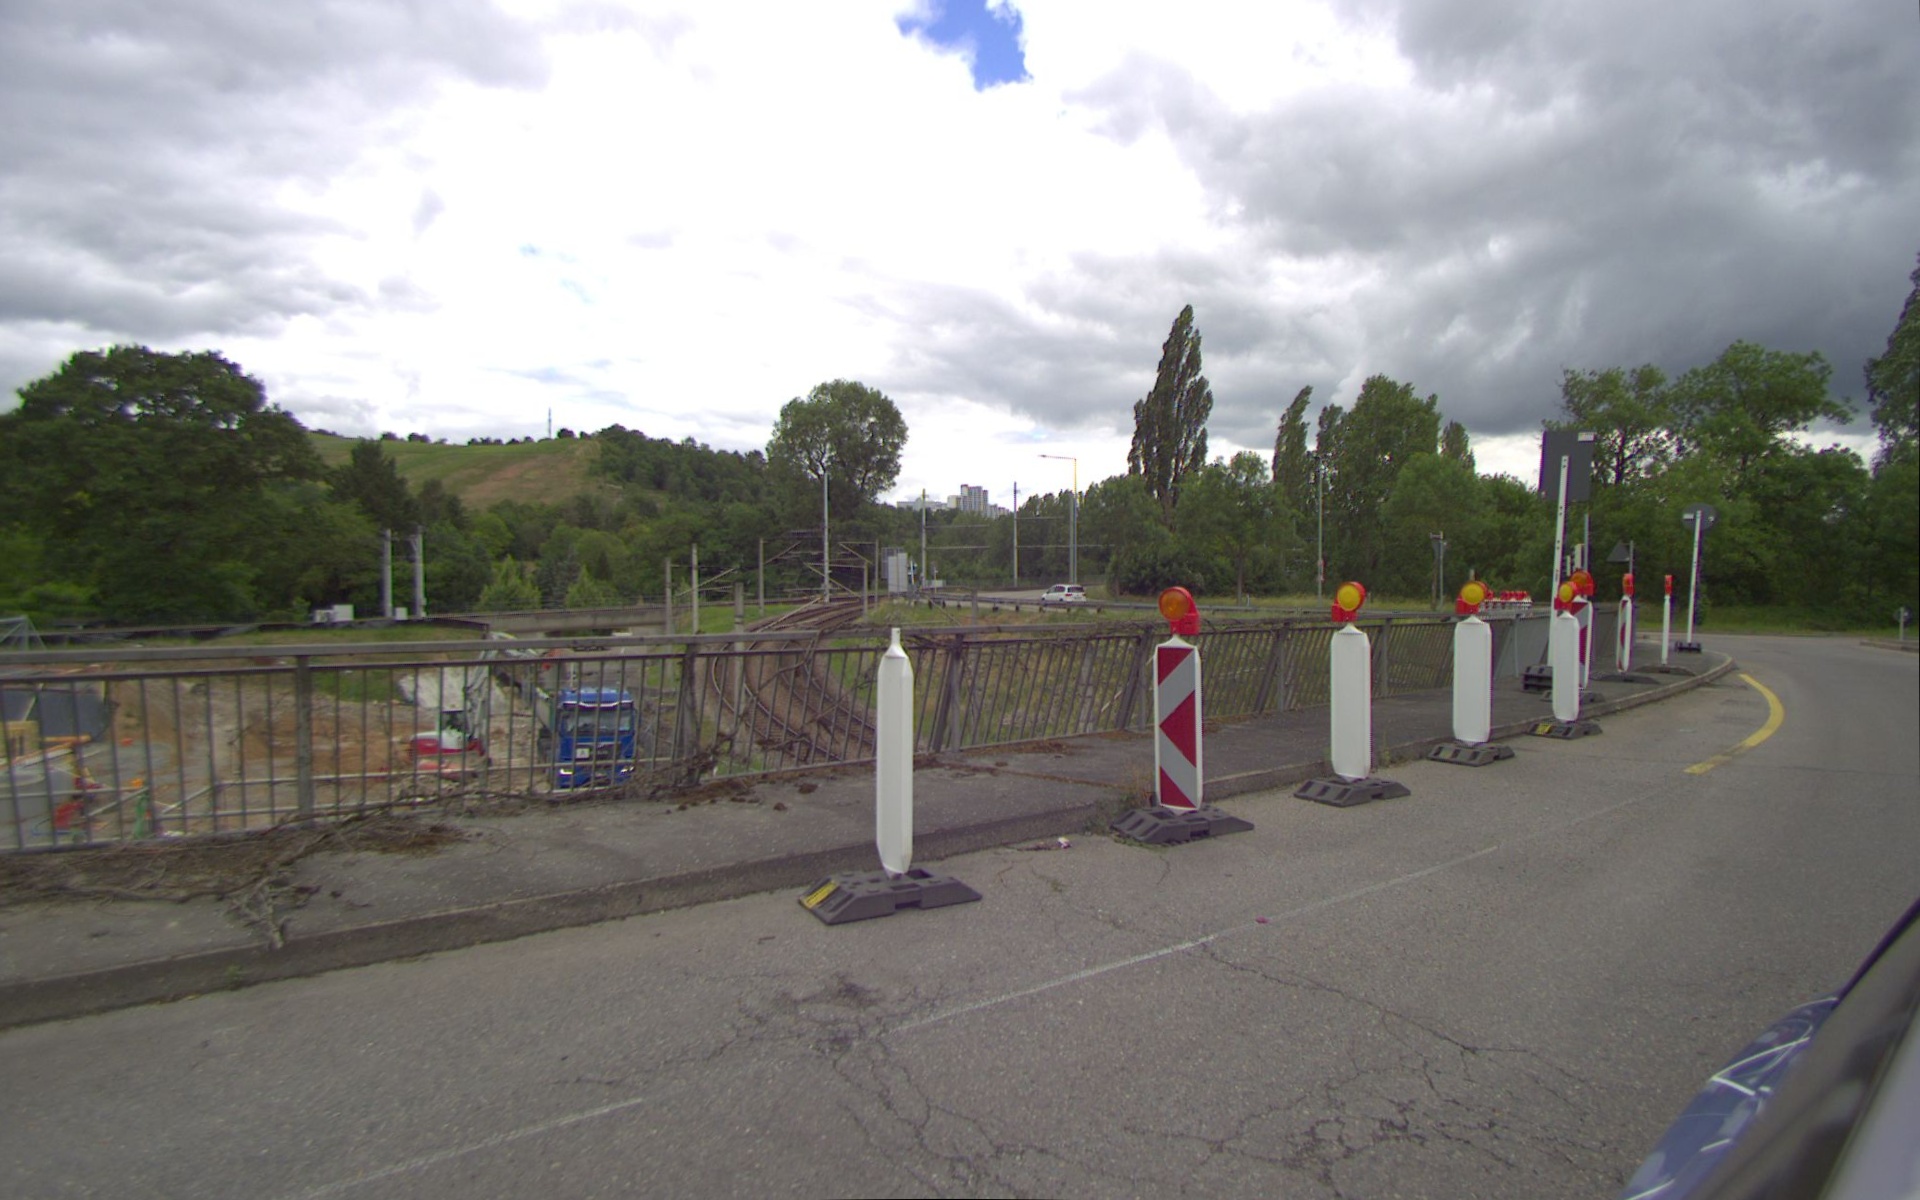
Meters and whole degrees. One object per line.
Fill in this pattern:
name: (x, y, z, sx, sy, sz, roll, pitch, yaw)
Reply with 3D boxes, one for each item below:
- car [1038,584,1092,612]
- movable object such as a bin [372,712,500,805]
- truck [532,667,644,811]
car: (7.452, -0.140, 72.138, 2.039, 1.782, 4.330, 4, -2, -20)
movable object such as a bin: (-19.158, 5.725, 37.276, 2.984, 2.785, 4.293, 0, -1, -10)
truck: (-14.550, 4.927, 38.859, 2.788, 3.943, 11.636, 0, 0, -26)
